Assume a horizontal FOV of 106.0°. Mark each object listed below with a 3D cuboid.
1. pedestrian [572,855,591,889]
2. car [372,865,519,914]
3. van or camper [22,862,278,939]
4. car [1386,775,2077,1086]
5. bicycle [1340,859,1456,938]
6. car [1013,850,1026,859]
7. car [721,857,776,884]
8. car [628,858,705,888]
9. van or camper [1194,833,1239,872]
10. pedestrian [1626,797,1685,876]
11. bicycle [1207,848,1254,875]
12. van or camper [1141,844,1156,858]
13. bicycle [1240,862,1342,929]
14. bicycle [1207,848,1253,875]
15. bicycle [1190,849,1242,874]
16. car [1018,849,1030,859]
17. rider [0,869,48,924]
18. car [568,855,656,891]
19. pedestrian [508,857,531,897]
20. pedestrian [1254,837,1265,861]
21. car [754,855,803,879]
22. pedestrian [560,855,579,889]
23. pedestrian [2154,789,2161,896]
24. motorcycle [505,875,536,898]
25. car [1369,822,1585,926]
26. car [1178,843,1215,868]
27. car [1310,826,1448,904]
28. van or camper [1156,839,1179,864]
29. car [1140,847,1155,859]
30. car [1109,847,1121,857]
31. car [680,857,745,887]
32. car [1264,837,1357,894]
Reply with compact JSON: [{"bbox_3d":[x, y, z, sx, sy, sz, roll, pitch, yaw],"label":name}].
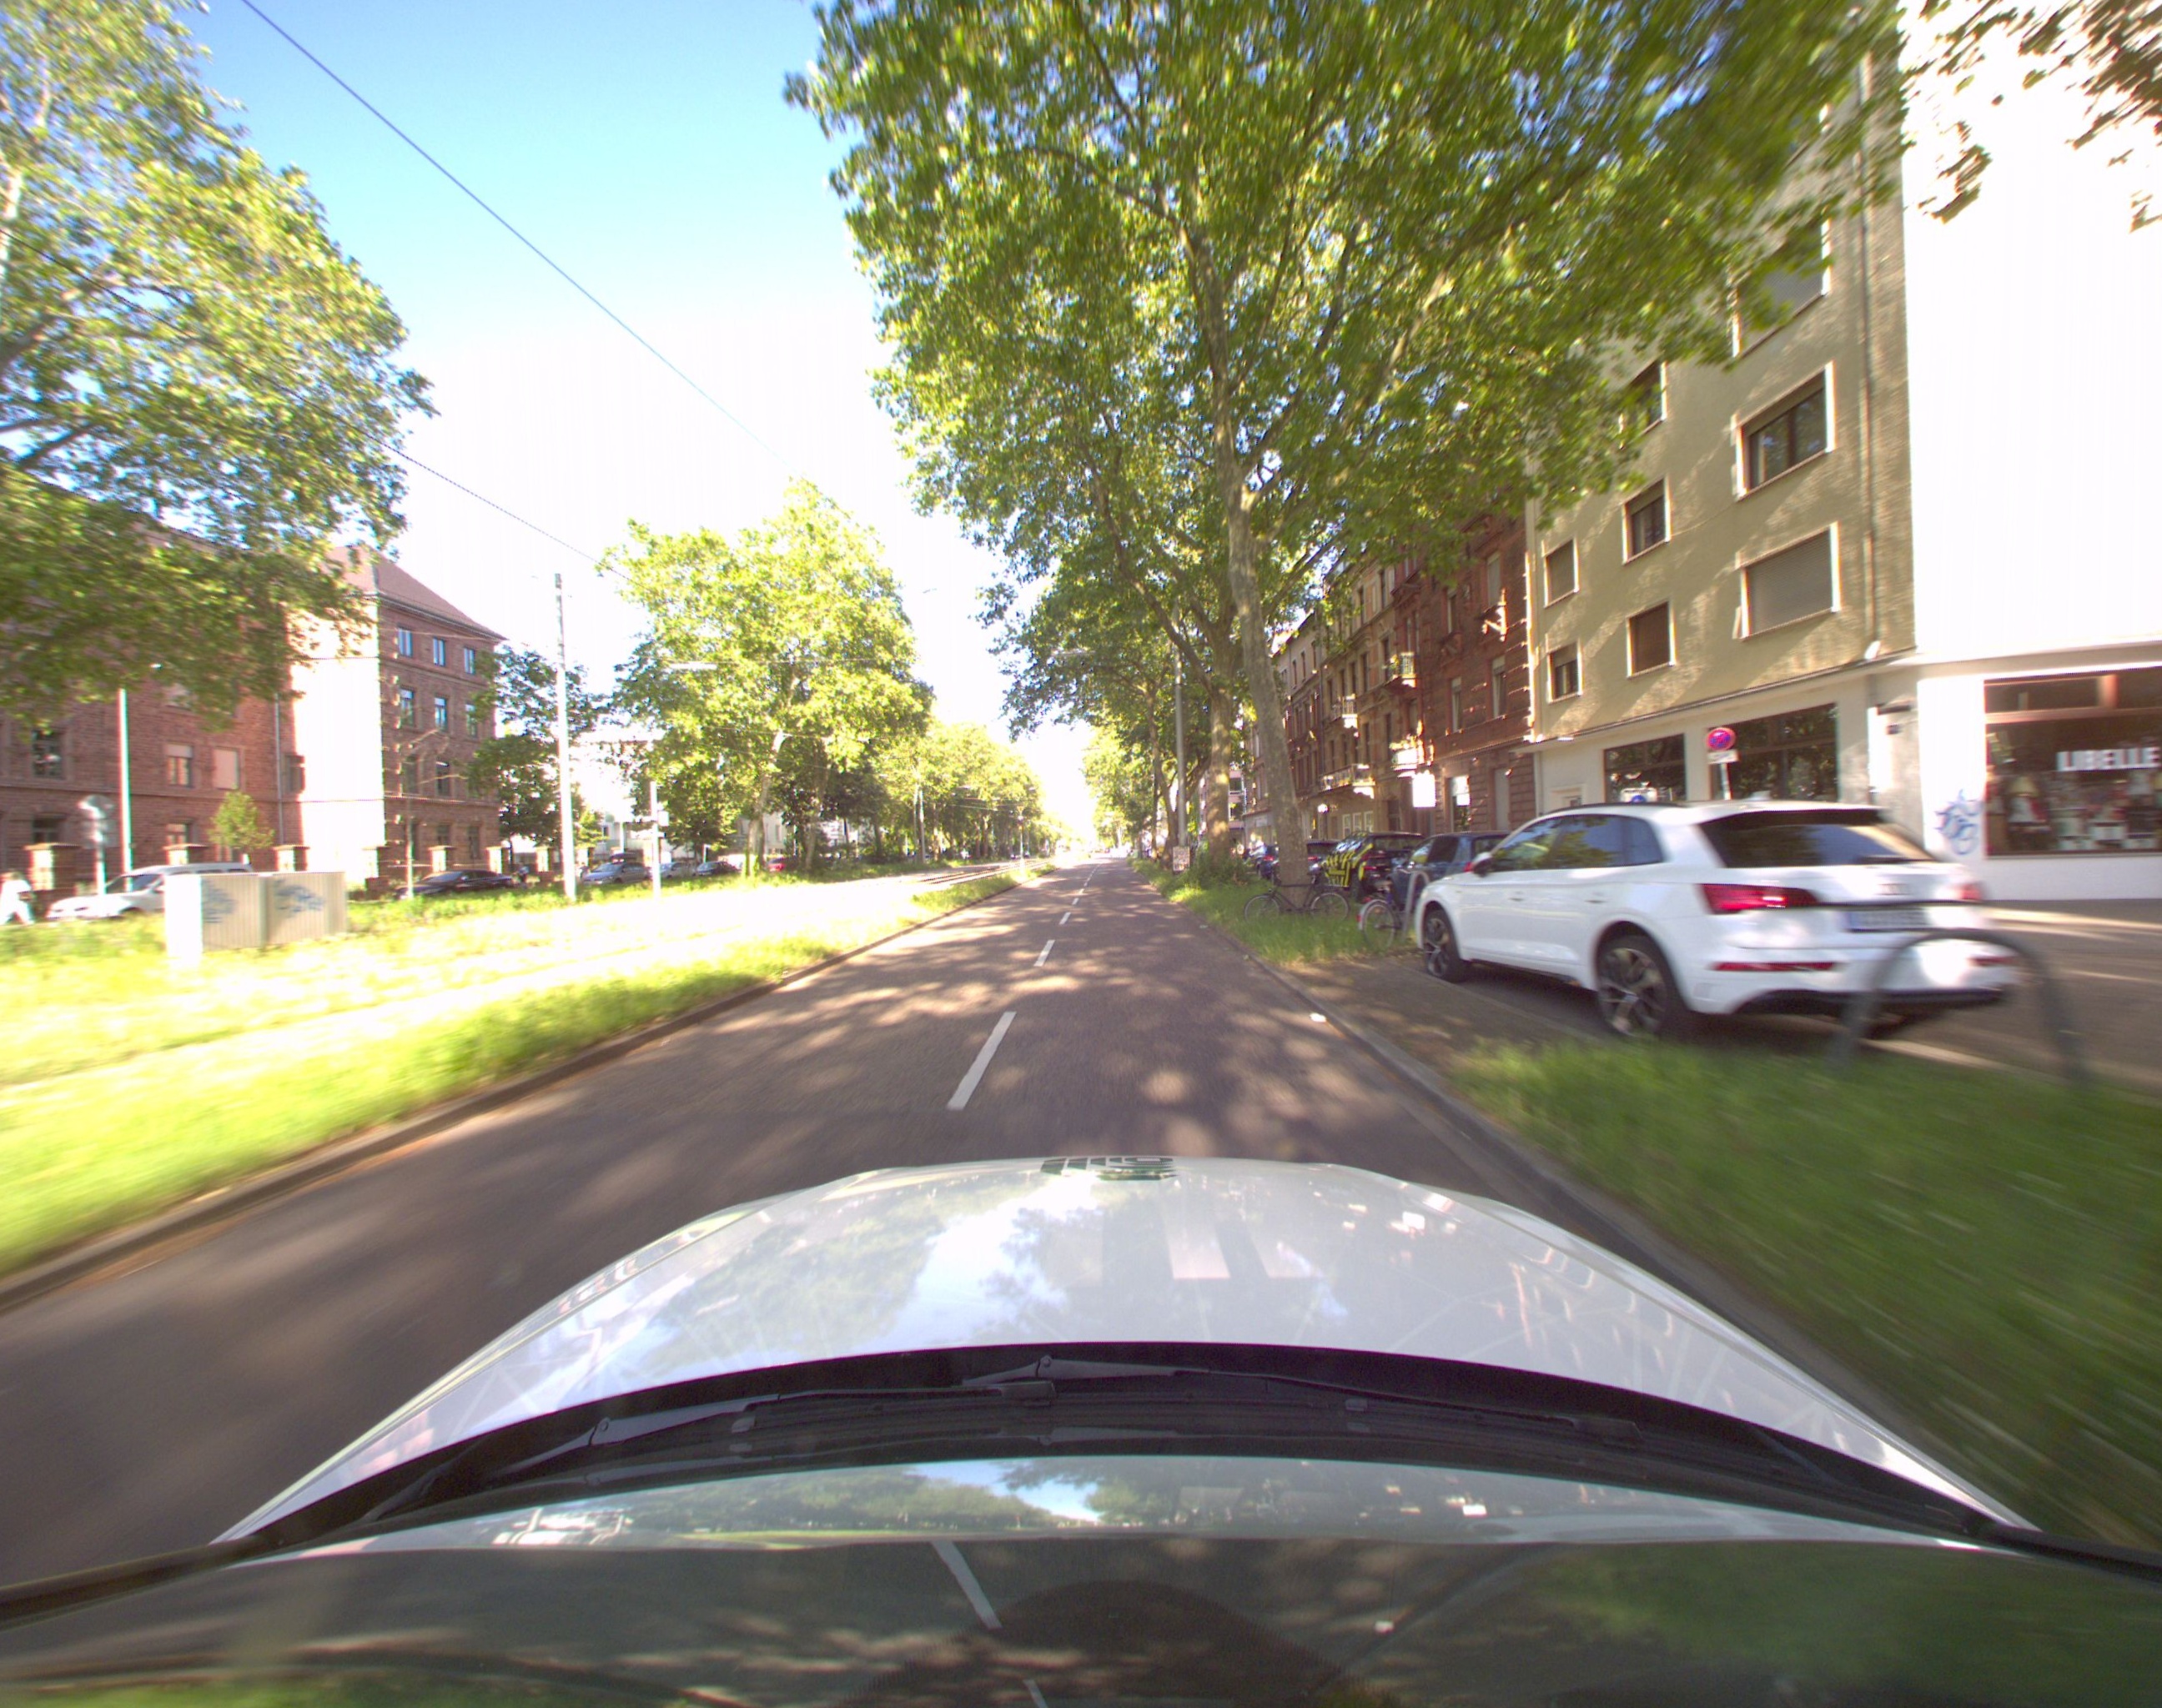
[{"bbox_3d":[-30.594,1.089,49.897,0.712,2.013,0.626,-2,0,2],"label":"pedestrian"},{"bbox_3d":[-25.524,1.371,32.990,1.986,1.649,4.830,-2,1,2],"label":"car"},{"bbox_3d":[-25.658,1.193,22.748,1.987,1.787,4.431,-2,0,0],"label":"van or camper"},{"bbox_3d":[4.474,0.401,6.861,1.897,1.636,4.822,-2,0,-1],"label":"car"},{"bbox_3d":[4.264,0.559,10.909,1.773,0.928,0.646,-2,0,-40],"label":"bicycle"},{"bbox_3d":[-11.436,0.050,152.203,1.788,1.508,4.342,-4,0,3],"label":"car"},{"bbox_3d":[-24.468,1.195,60.127,2.102,1.809,4.738,-2,0,0],"label":"car"},{"bbox_3d":[-24.921,1.102,49.136,1.983,1.615,4.428,-2,0,6],"label":"car"},{"bbox_3d":[7.713,-0.064,46.788,1.827,2.098,4.774,1,0,0],"label":"van or camper"},{"bbox_3d":[12.918,-0.388,18.329,0.792,1.704,0.724,-2,0,2],"label":"pedestrian"},{"bbox_3d":[7.271,0.370,39.670,2.154,1.294,0.984,-1,0,3],"label":"bicycle"},{"bbox_3d":[9.746,-0.454,117.457,1.832,1.963,5.129,-1,0,2],"label":"van or camper"},{"bbox_3d":[3.481,0.691,13.567,1.584,1.058,0.405,-2,0,8],"label":"bicycle"},{"bbox_3d":[7.464,0.369,40.816,2.156,1.294,0.983,-1,0,1],"label":"bicycle"},{"bbox_3d":[7.207,0.405,43.486,2.545,1.294,0.973,-1,0,-5],"label":"bicycle"},{"bbox_3d":[-12.253,-0.033,175.864,1.985,1.870,4.876,-3,0,3],"label":"car"},{"bbox_3d":[-32.461,1.288,24.929,0.725,1.644,0.686,-2,0,2],"label":"rider"},{"bbox_3d":[-25.029,0.966,43.641,1.759,1.719,4.428,-2,0,6],"label":"car"},{"bbox_3d":[-28.873,1.192,41.886,0.583,2.013,0.710,-2,0,1],"label":"pedestrian"},{"bbox_3d":[13.644,-0.371,62.336,0.700,1.822,0.612,-2,0,1],"label":"pedestrian"},{"bbox_3d":[-24.387,1.022,65.926,2.102,1.809,4.738,-2,0,0],"label":"car"},{"bbox_3d":[-31.358,1.087,49.906,0.712,2.013,0.626,-2,0,2],"label":"pedestrian"},{"bbox_3d":[16.877,-0.185,12.215,0.587,1.650,0.727,-2,0,12],"label":"pedestrian"},{"bbox_3d":[-28.862,1.650,41.953,0.581,1.052,1.294,-2,2,2],"label":"motorcycle"},{"bbox_3d":[6.501,0.250,13.946,1.708,1.451,4.263,-2,1,2],"label":"car"},{"bbox_3d":[7.911,0.077,56.309,1.884,1.647,4.800,1,0,0],"label":"car"},{"bbox_3d":[6.625,0.170,18.622,1.689,1.530,4.263,-2,1,2],"label":"car"},{"bbox_3d":[8.956,-0.296,84.473,2.174,2.480,6.276,0,0,4],"label":"van or camper"},{"bbox_3d":[9.096,-0.140,112.020,1.678,1.514,3.666,-1,0,-1],"label":"car"},{"bbox_3d":[6.177,-0.326,148.831,2.014,1.662,4.001,-1,0,1],"label":"car"},{"bbox_3d":[-24.645,1.176,54.710,2.101,1.809,4.739,-2,0,1],"label":"car"},{"bbox_3d":[6.780,0.279,24.551,1.688,1.507,4.585,-2,1,3],"label":"car"}]
